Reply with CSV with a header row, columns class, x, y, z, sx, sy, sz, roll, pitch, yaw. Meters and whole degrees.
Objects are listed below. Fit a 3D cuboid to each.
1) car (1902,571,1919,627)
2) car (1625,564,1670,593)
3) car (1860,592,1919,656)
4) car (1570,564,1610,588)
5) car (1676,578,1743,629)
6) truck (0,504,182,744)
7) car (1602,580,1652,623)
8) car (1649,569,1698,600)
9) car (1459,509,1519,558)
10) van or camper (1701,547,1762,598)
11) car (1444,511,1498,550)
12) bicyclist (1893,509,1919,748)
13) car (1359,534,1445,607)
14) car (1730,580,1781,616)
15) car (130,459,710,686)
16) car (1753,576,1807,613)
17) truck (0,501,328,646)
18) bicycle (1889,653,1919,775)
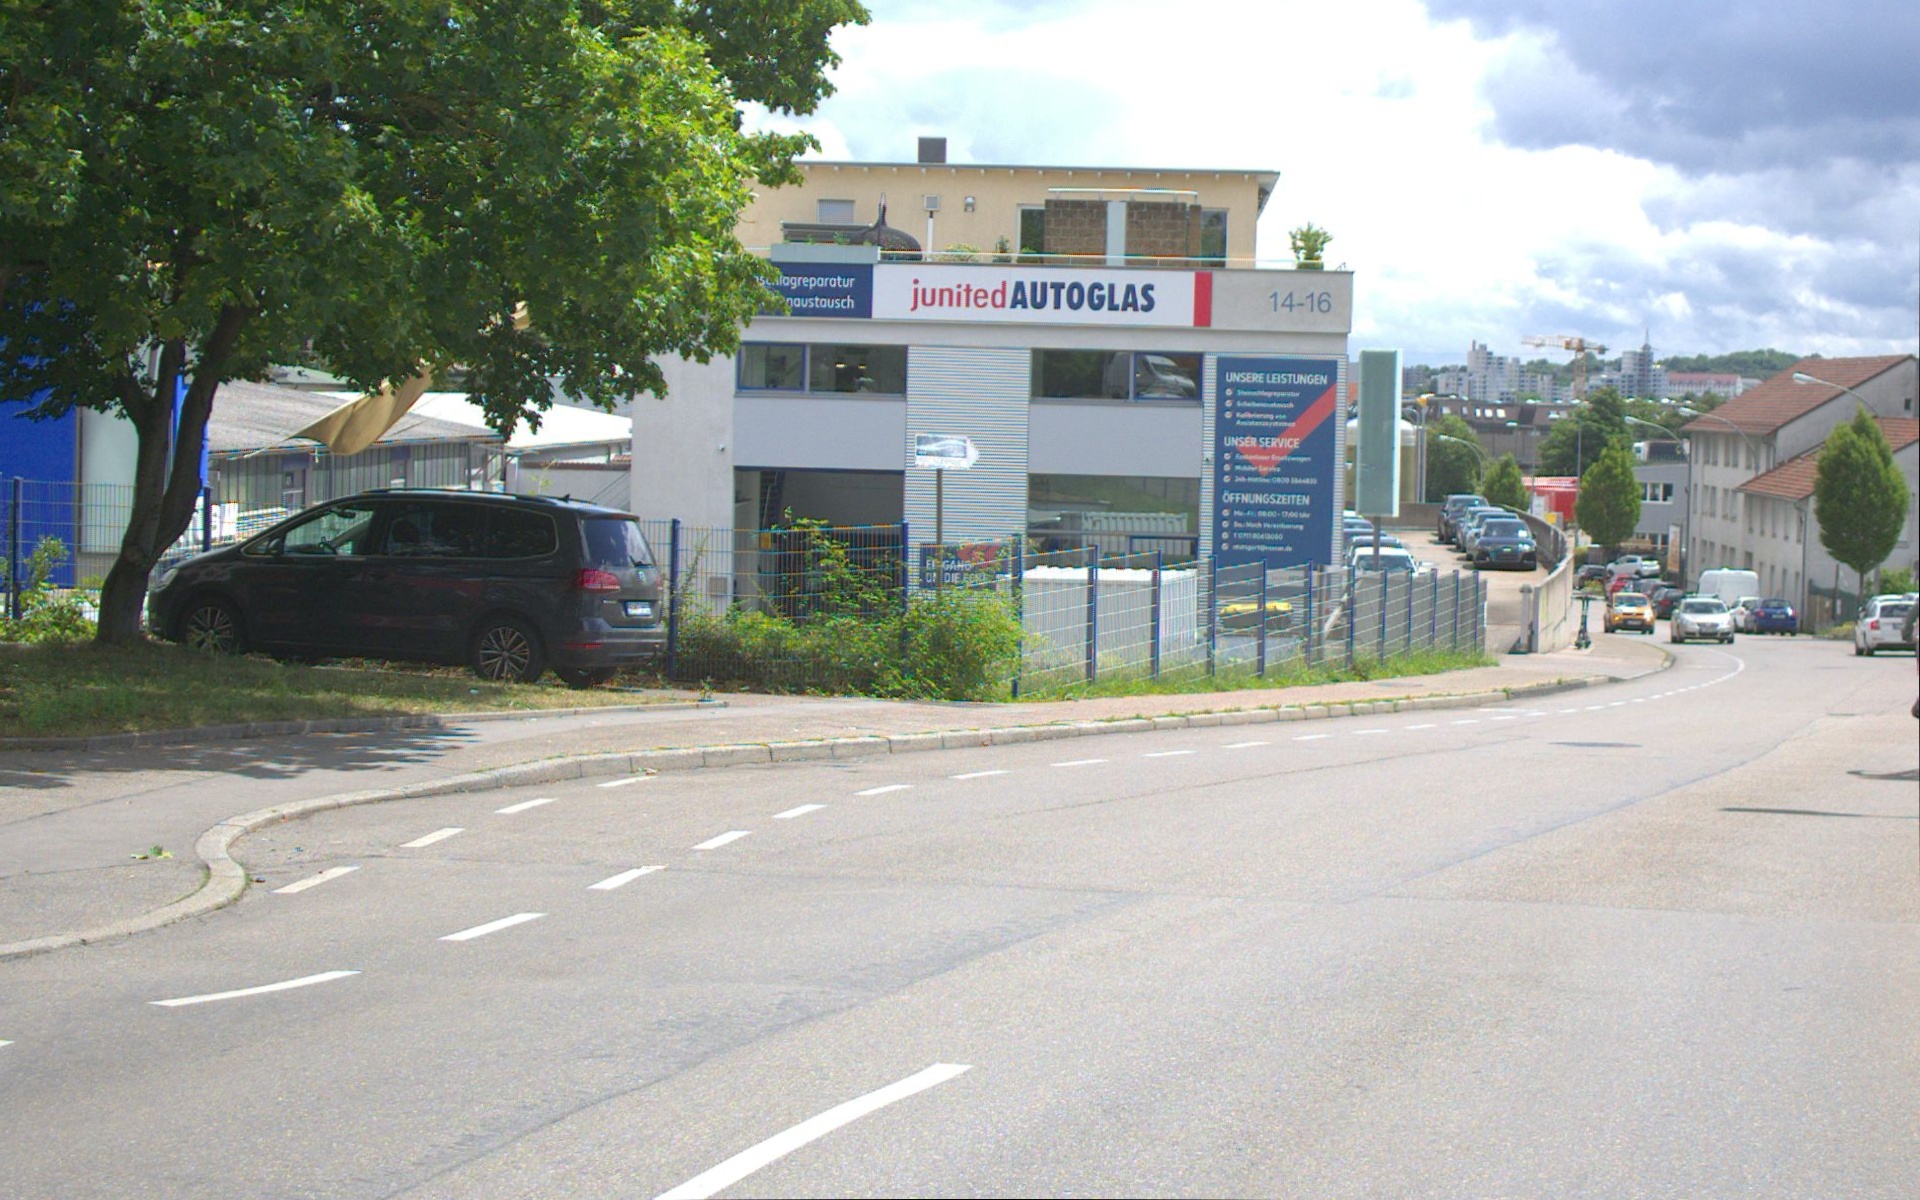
class,x,y,z,sx,sy,sz,roll,pitch,yaw
car,30.225,-0.041,106.257,1.814,1.700,3.998,0,0,11
car,35.311,-1.098,176.726,1.994,1.459,3.999,0,0,7
car,24.250,0.600,88.614,1.995,1.612,3.997,0,0,15
car,36.631,-1.401,199.849,1.994,1.415,3.999,0,0,6
car,23.986,0.107,110.083,1.703,1.556,4.326,1,1,8
truck,-12.319,0.245,42.264,2.460,2.864,5.876,2,1,21
car,25.175,0.050,129.834,1.709,1.568,3.998,0,0,9
car,34.352,-0.738,165.640,1.994,1.459,3.999,0,0,7
car,15.634,-1.947,101.706,1.670,1.319,3.717,1,0,8
van or camper,33.304,-1.196,148.475,1.994,2.006,3.999,4,1,6
car,17.765,-2.410,119.650,1.670,1.319,3.717,0,0,5
bicyclist,7.627,0.218,26.613,0.685,1.819,1.079,0,0,20
car,10.218,-0.680,79.688,1.847,1.645,3.999,0,0,5
car,33.229,-0.099,143.673,1.994,1.459,3.998,0,0,12
car,-4.861,-0.251,31.040,4.703,1.710,1.998,4,0,19
car,33.101,-0.243,138.862,1.994,1.459,3.998,0,0,12
truck,-15.183,-0.505,65.571,5.782,2.697,2.177,0,0,7
bicycle,7.648,0.870,26.675,0.688,0.875,2.100,0,0,20
